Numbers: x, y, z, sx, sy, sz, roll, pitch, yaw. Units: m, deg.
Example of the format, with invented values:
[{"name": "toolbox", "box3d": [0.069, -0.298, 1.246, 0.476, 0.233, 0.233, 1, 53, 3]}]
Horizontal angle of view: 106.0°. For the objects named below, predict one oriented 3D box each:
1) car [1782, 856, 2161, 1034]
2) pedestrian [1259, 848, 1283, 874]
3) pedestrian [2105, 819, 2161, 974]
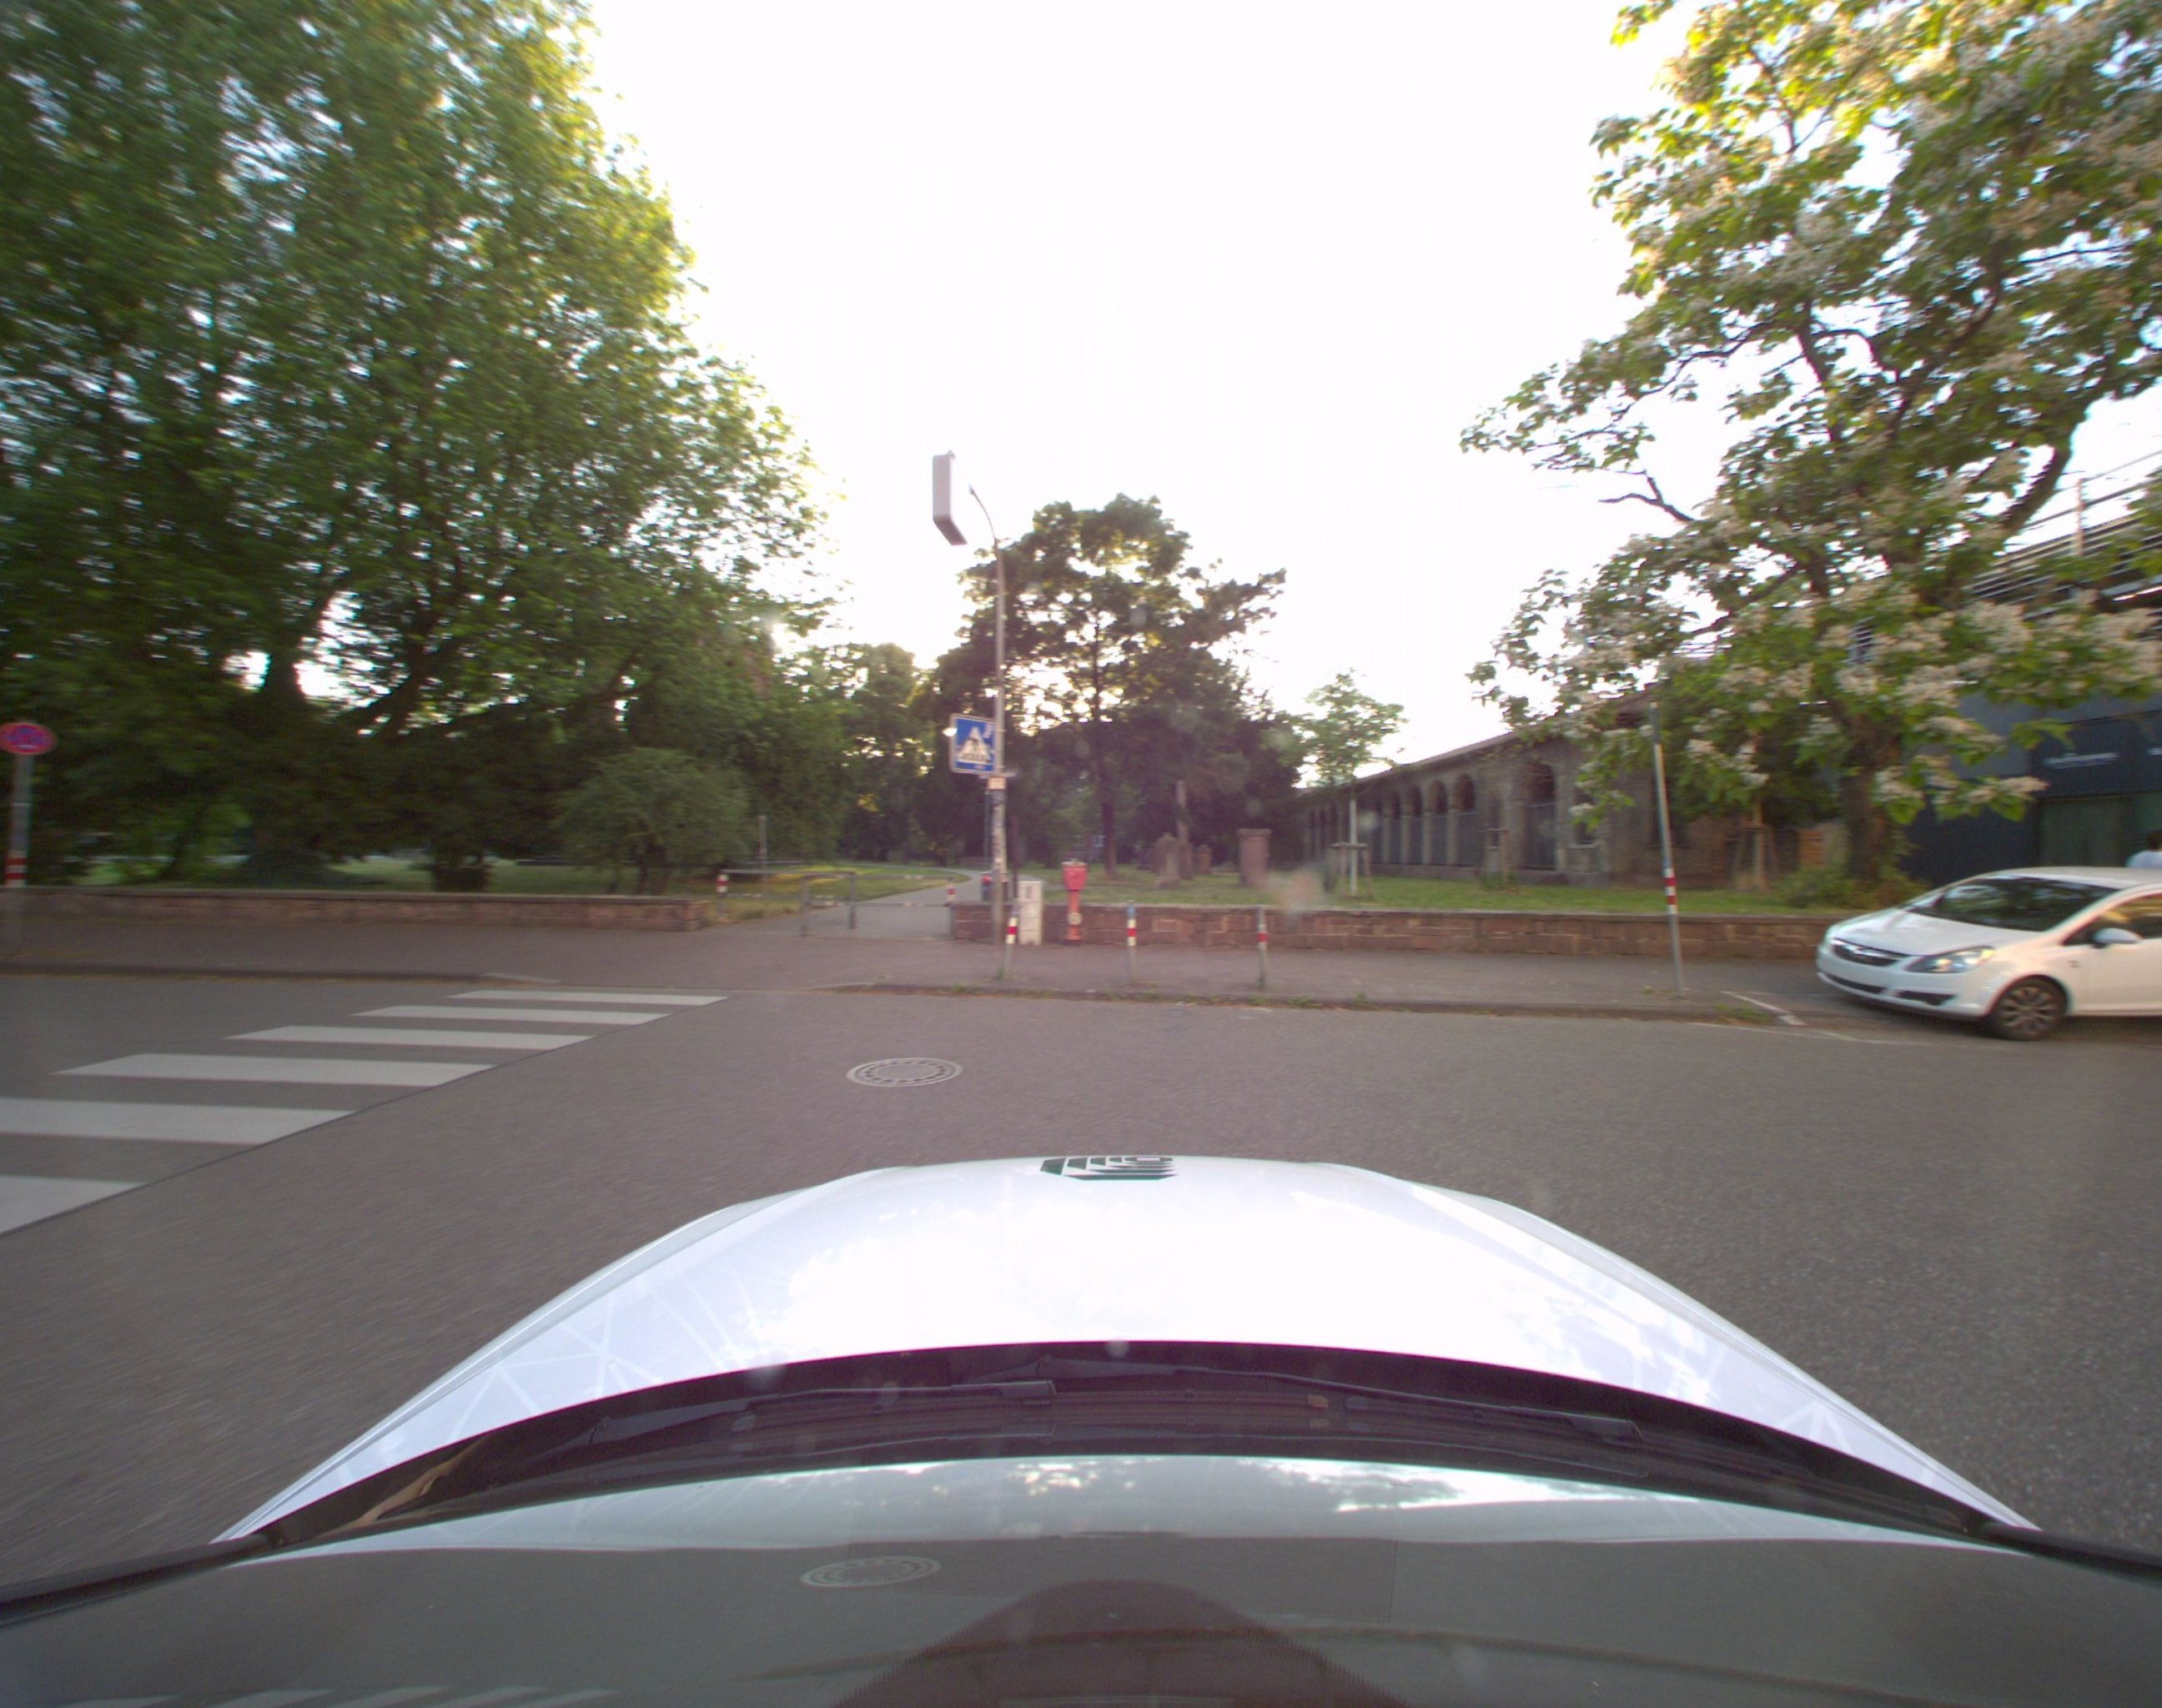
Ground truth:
[{"name": "car", "box3d": [9.717, 0.835, 8.187, 3.857, 1.514, 1.668, 0, 3, 1]}, {"name": "pedestrian", "box3d": [10.600, 0.375, 45.302, 1.268, 1.426, 1.242, -1, -1, 14]}, {"name": "pedestrian", "box3d": [13.454, 0.515, 10.082, 0.614, 1.878, 0.725, -1, -1, 9]}]
